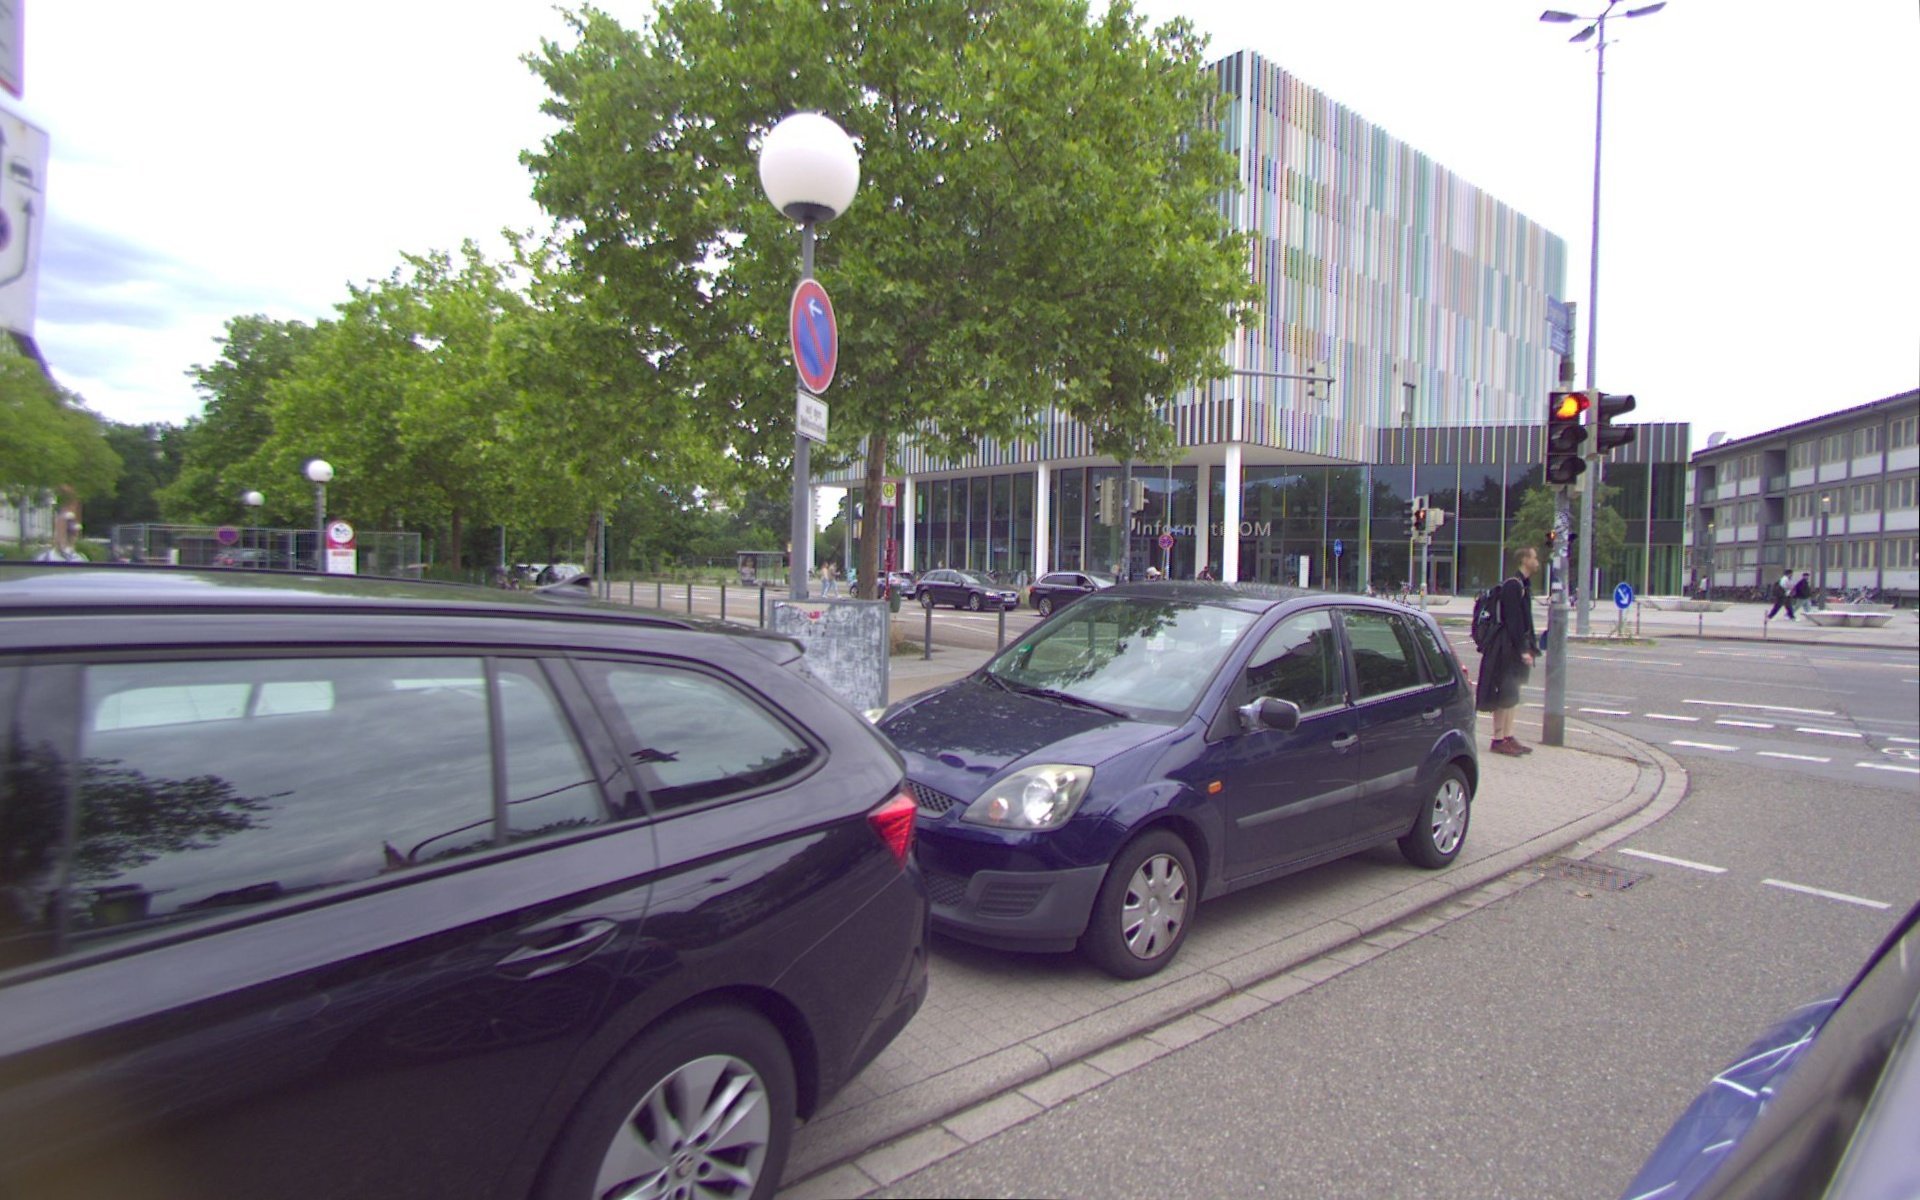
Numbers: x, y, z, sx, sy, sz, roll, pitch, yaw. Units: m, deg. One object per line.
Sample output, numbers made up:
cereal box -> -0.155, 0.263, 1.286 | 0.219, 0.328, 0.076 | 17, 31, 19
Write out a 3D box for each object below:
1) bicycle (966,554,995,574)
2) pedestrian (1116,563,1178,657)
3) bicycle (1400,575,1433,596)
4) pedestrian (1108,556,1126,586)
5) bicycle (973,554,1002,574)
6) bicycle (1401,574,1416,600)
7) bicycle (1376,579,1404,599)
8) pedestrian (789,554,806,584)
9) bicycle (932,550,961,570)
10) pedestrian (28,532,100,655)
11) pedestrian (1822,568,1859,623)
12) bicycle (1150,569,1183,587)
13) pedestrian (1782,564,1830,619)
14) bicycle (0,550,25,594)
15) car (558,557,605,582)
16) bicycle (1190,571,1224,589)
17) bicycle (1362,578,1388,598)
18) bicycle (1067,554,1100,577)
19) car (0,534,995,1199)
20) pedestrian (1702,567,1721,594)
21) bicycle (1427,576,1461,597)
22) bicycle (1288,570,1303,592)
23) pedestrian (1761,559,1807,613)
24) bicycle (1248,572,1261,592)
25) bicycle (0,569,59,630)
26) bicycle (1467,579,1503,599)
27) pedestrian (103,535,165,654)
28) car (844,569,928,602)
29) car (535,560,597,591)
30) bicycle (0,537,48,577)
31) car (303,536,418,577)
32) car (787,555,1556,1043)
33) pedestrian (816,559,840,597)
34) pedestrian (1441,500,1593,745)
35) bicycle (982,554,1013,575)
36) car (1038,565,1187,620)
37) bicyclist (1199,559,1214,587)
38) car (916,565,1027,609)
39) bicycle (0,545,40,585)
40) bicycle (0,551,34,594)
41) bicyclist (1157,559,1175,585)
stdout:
bicycle -> 1.378, -2.433, 68.923 | 2.067, 1.275, 0.627 | 3, -1, -42
pedestrian -> 3.381, 0.166, 18.311 | 0.777, 1.647, 0.759 | 0, 1, -26
bicycle -> 22.673, -0.736, 50.324 | 0.474, 0.947, 2.014 | 0, 3, -8
pedestrian -> 9.799, -1.803, 63.216 | 0.787, 1.810, 0.762 | -1, 3, -38
bicycle -> 1.841, -2.418, 68.445 | 2.067, 1.275, 0.627 | 3, -1, -42
bicycle -> 19.393, -0.581, 43.735 | 0.478, 1.058, 1.772 | 2, 3, 21
bicycle -> 21.629, -0.575, 50.921 | 0.538, 0.947, 2.010 | 1, 2, 0
pedestrian -> -9.915, -1.907, 61.794 | 0.794, 1.832, 0.588 | 0, 2, -36
bicycle -> -0.927, -2.796, 71.180 | 2.067, 1.275, 0.627 | 3, -1, -42
pedestrian -> -12.979, -0.111, 14.681 | 0.665, 1.736, 0.674 | -1, 3, -34
pedestrian -> 27.895, -0.148, 32.071 | 0.607, 1.687, 0.624 | 1, 1, 4
bicycle -> 11.315, -1.215, 55.502 | 0.607, 0.937, 1.919 | 0, 2, -30
pedestrian -> 28.777, -0.304, 34.427 | 0.832, 1.810, 0.893 | 1, 1, 8
bicycle -> -27.568, -0.827, 27.249 | 3.328, 1.185, 1.056 | 3, -1, -34
car -> -26.203, -2.116, 69.986 | 1.963, 1.638, 4.193 | 0, 2, -37
bicycle -> 13.284, -1.066, 54.428 | 1.876, 0.937, 0.485 | 0, 2, -22
bicycle -> 20.905, -0.604, 50.994 | 0.475, 0.947, 2.010 | 1, 2, 0
bicycle -> 7.502, -2.099, 61.425 | 2.064, 1.275, 0.628 | 3, -1, -35
car -> -2.032, 0.623, 1.571 | 1.858, 1.418, 4.416 | 6, 4, 38
pedestrian -> 51.939, -1.334, 69.924 | 0.765, 1.811, 0.758 | 2, 2, 16
bicycle -> 23.991, -0.683, 50.201 | 0.474, 0.947, 2.014 | 0, 3, -8
bicycle -> 17.271, -0.990, 52.130 | 0.476, 1.058, 1.911 | 1, 3, 11
pedestrian -> 28.107, -0.489, 34.534 | 0.832, 1.810, 0.893 | 1, 1, 8
bicycle -> 16.019, -0.971, 55.102 | 0.476, 1.058, 1.911 | 1, 2, 11
bicycle -> -17.158, -0.018, 17.823 | 1.904, 1.062, 0.456 | 0, 2, -45
bicycle -> 26.082, -0.553, 50.288 | 0.474, 0.947, 2.014 | 0, 3, -8
pedestrian -> -12.374, -0.098, 15.176 | 0.645, 1.736, 0.586 | -1, 2, -34
car -> -3.759, -0.730, 50.905 | 1.966, 1.486, 4.220 | 3, 0, -42
car -> -20.293, -1.284, 52.031 | 1.963, 1.530, 3.999 | 0, 2, -37
bicycle -> -29.524, -1.308, 30.167 | 3.329, 1.184, 1.056 | 0, 2, -34
car -> -26.994, -1.947, 45.681 | 1.986, 1.774, 4.018 | 2, 2, 33
car -> 1.309, 0.593, 5.163 | 4.032, 1.519, 1.627 | -1, 5, -39
pedestrian -> -6.295, -1.055, 48.413 | 0.886, 1.810, 0.709 | 2, 1, 26
pedestrian -> 4.746, 0.173, 8.664 | 0.742, 1.976, 0.795 | 1, 1, -15
bicycle -> 2.513, -2.396, 67.763 | 2.064, 1.275, 0.628 | 3, -1, -35
car -> 4.557, -0.285, 30.725 | 1.965, 1.507, 4.287 | -1, 3, -40
bicyclist -> 13.239, -1.460, 54.392 | 0.593, 1.487, 0.485 | 0, 2, -22
car -> 0.366, -0.514, 36.287 | 1.963, 1.471, 3.999 | -1, 2, -37
bicycle -> -28.907, -1.015, 29.225 | 3.329, 1.184, 1.056 | -1, 2, -34
bicycle -> -28.283, -0.848, 28.312 | 3.328, 1.185, 1.056 | 3, -1, -34
bicyclist -> 11.300, -1.543, 55.544 | 0.607, 1.399, 0.719 | 0, 2, -31
